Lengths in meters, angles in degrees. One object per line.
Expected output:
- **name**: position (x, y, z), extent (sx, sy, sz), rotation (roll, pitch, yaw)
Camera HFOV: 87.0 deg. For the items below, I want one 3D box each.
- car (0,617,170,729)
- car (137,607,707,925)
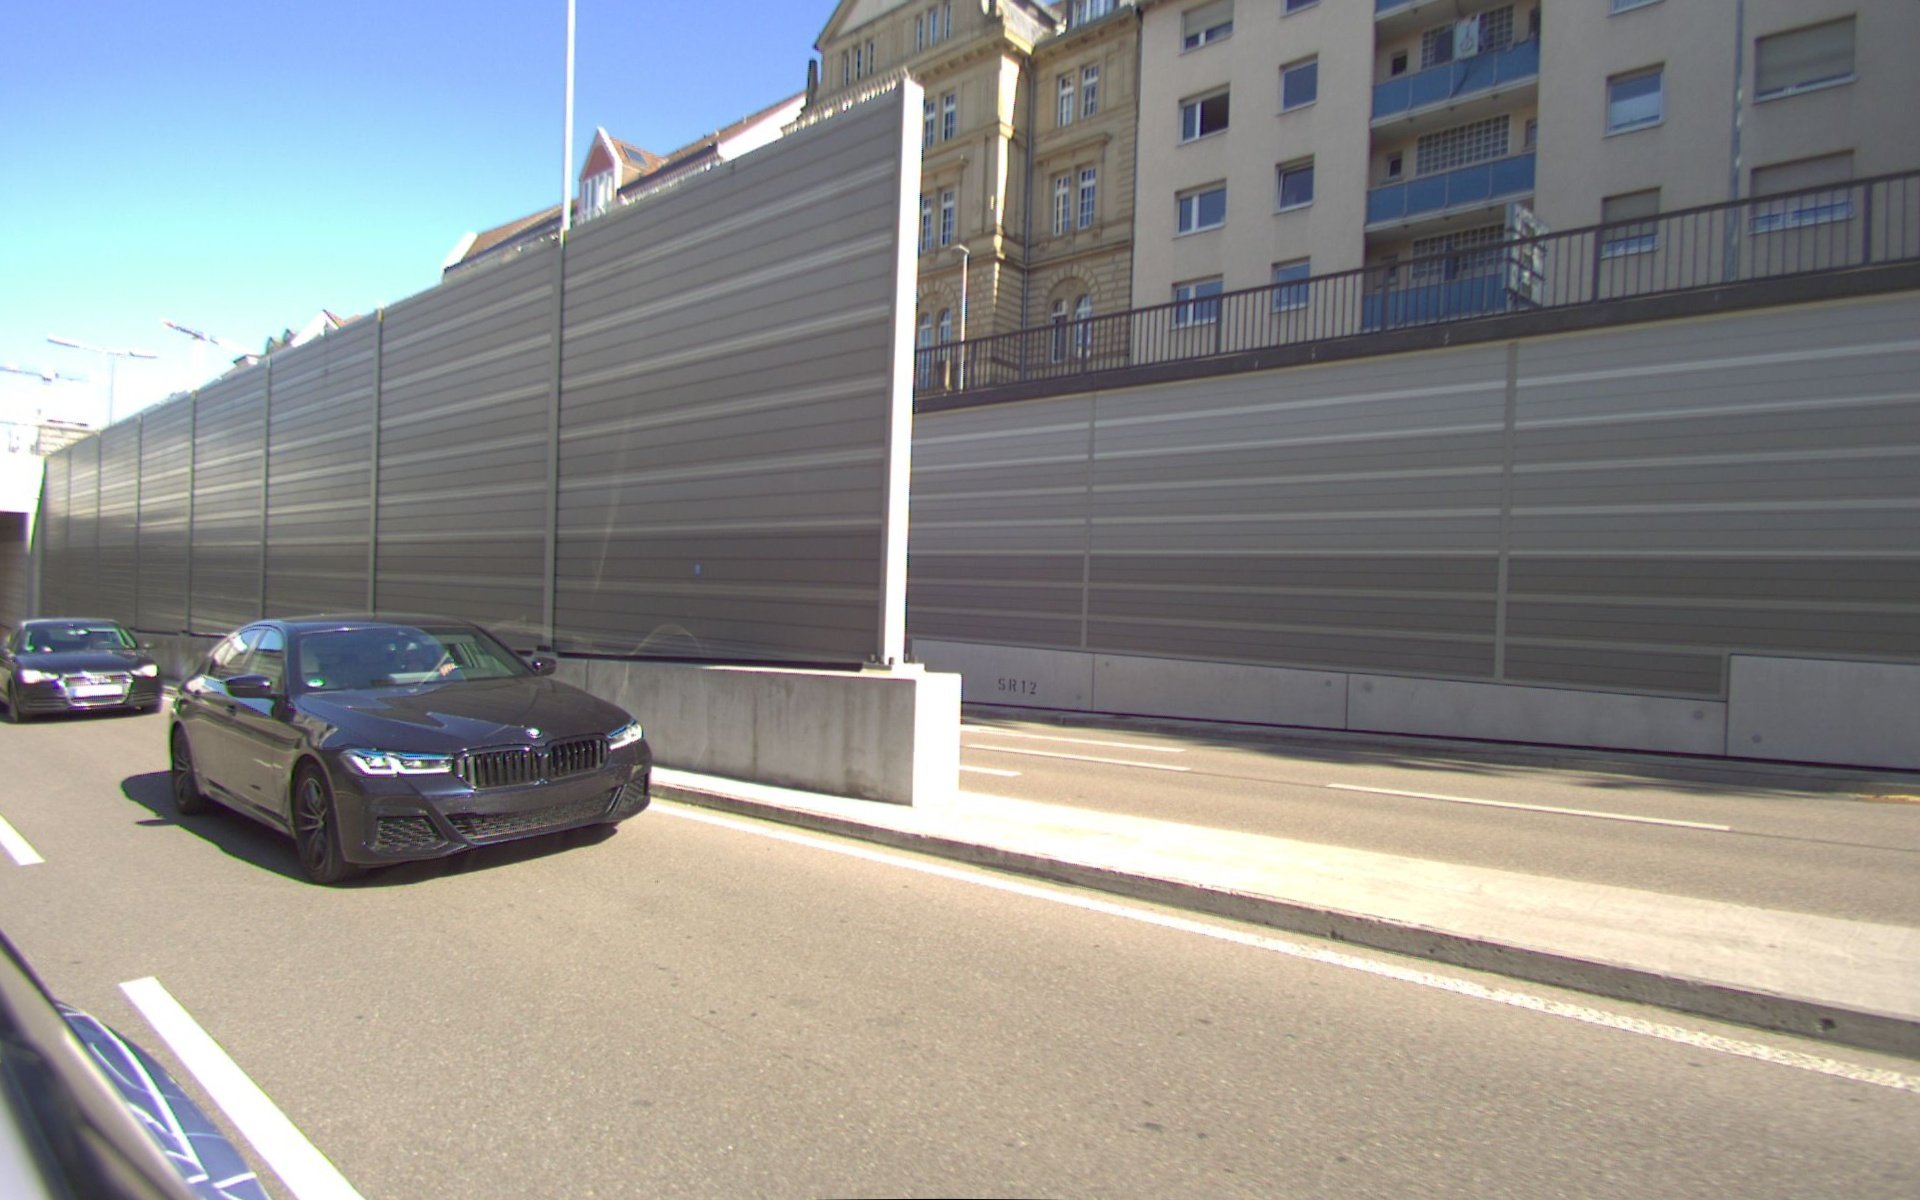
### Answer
- **car**: position (-13.360, 1.008, 15.151), extent (3.885, 1.429, 1.678), rotation (-2, -1, 41)
- **car**: position (-3.996, 0.825, 7.012), extent (4.999, 1.450, 1.790), rotation (-2, -1, 41)
